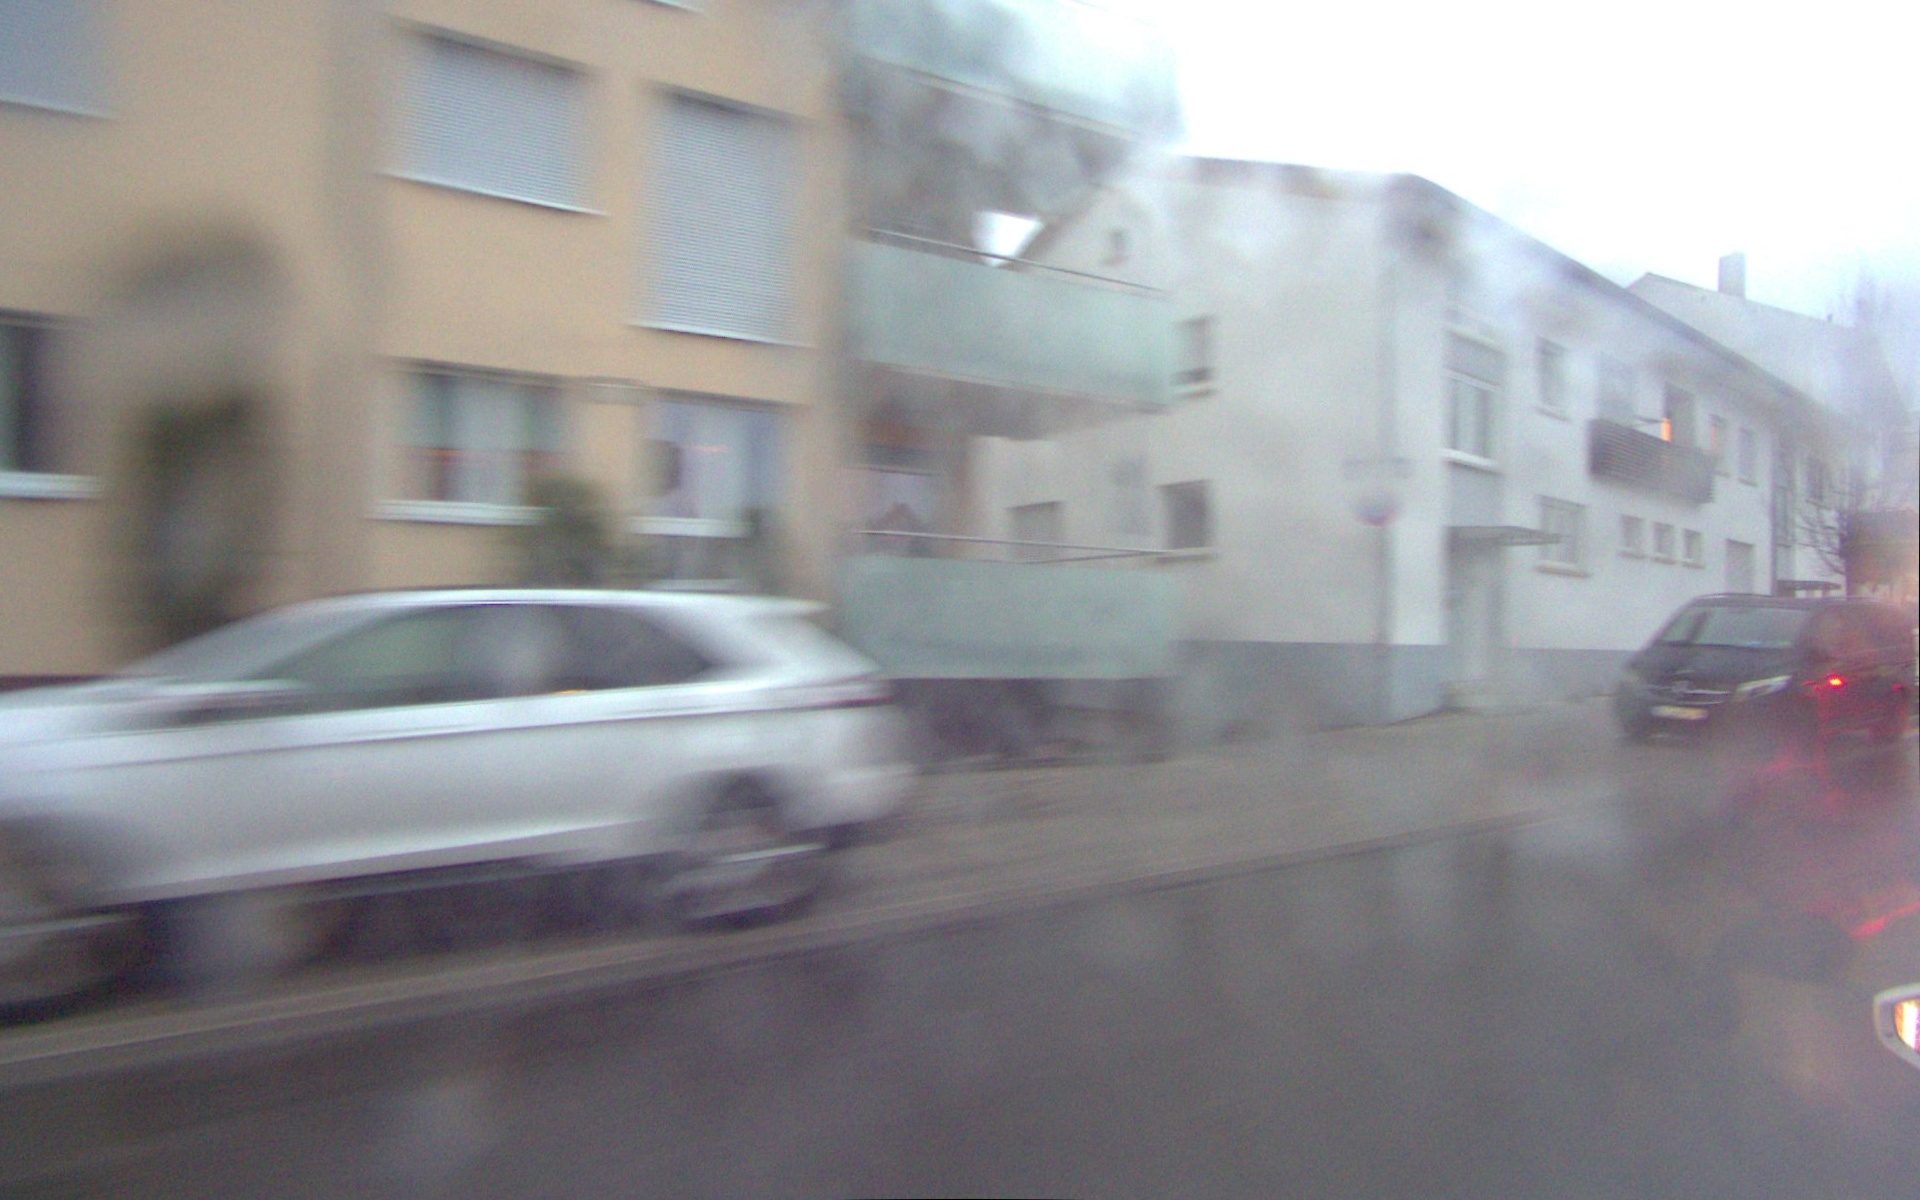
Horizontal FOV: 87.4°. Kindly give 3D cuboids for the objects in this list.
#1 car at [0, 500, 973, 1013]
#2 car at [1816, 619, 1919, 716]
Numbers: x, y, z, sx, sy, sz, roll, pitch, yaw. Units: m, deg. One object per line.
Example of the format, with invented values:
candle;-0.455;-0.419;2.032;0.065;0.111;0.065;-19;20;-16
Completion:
car;-2.711;0.597;5.163;5.234;1.868;1.986;1;0;-27
car;18.119;1.205;18.889;4.500;1.550;1.899;1;3;-34
